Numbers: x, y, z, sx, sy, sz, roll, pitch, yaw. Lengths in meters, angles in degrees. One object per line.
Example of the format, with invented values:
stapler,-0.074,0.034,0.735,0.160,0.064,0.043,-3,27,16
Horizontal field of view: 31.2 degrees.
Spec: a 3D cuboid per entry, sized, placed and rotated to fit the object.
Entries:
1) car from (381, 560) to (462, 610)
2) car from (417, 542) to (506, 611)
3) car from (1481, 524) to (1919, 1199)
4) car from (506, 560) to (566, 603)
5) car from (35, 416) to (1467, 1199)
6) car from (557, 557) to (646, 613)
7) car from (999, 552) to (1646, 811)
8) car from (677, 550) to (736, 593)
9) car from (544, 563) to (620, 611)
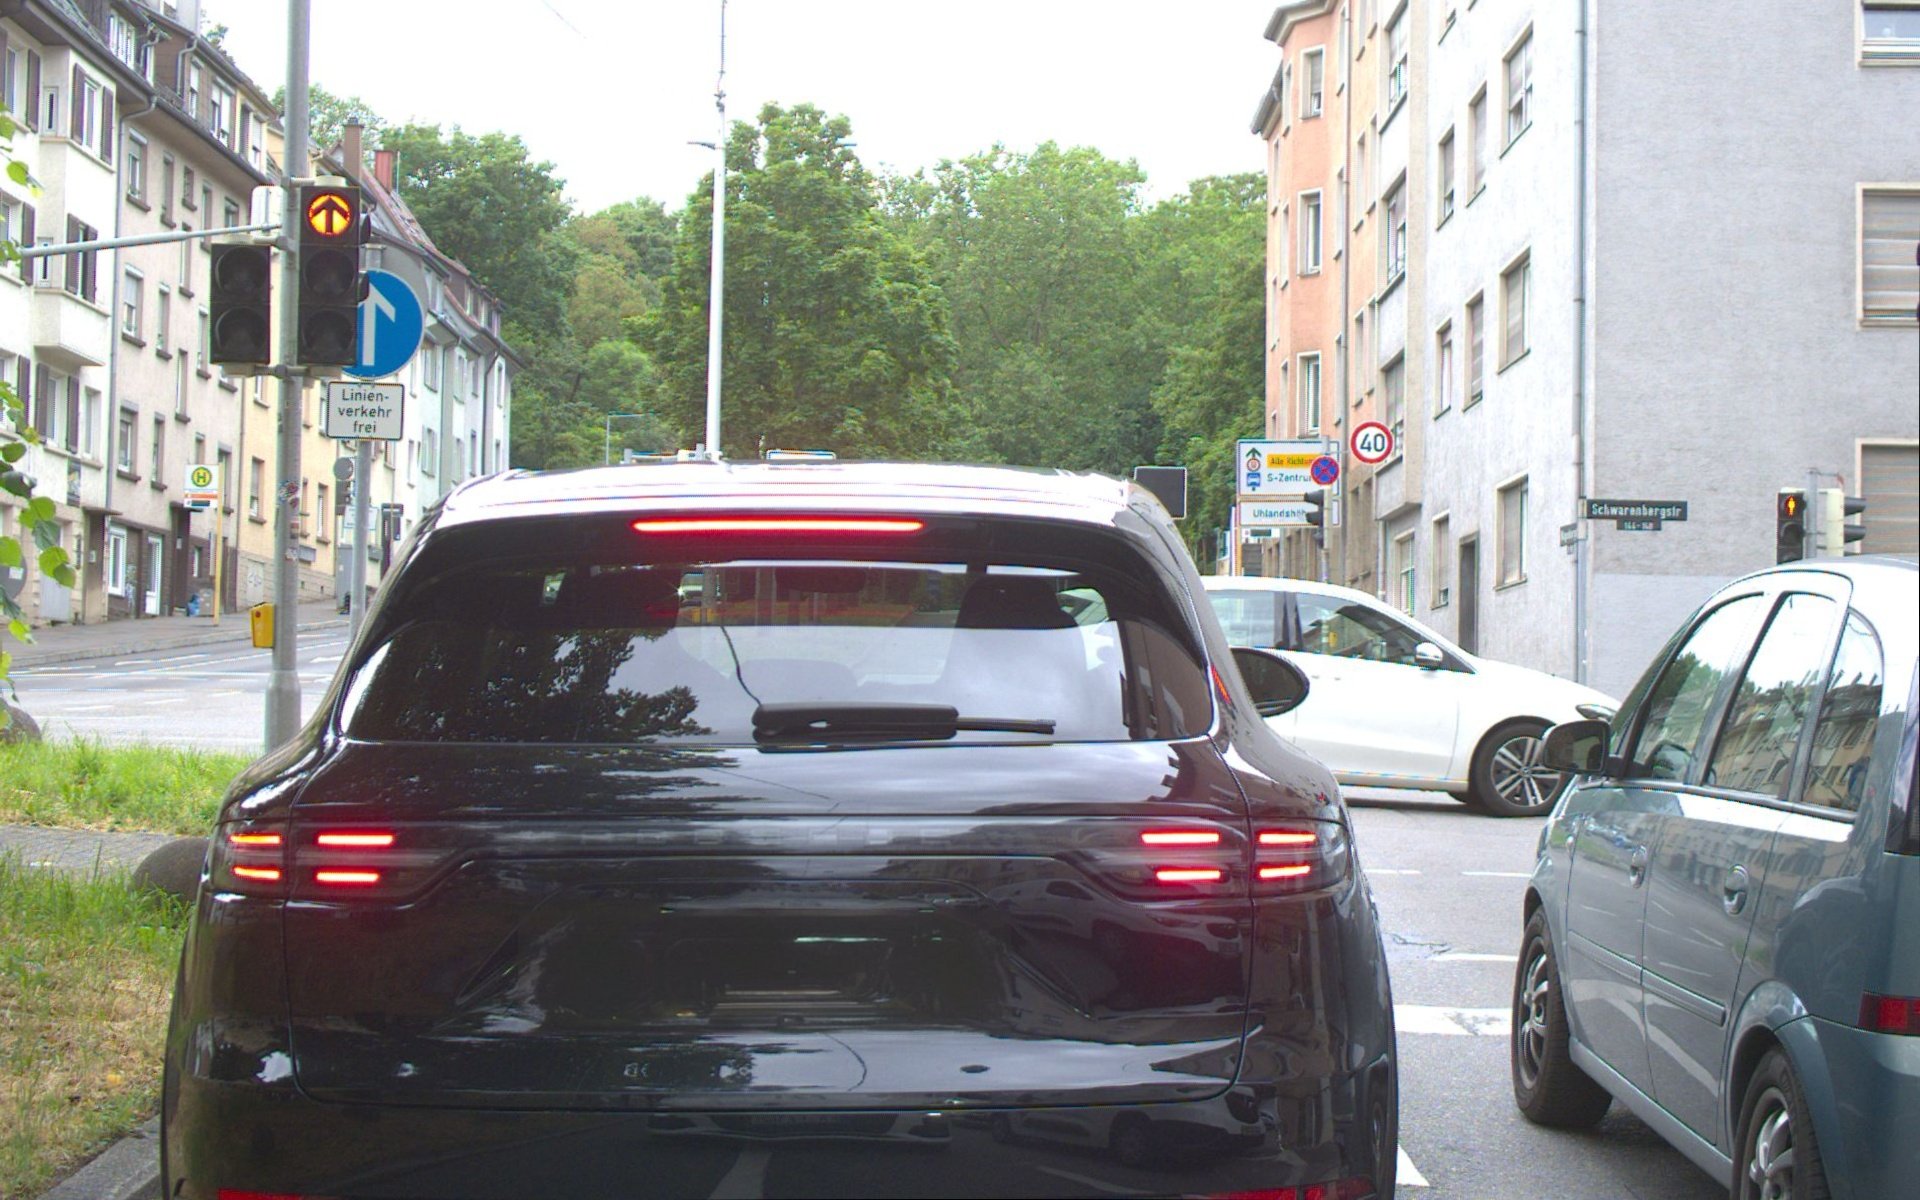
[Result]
car,-15.463,-0.432,98.898,1.739,1.382,3.814,1,1,0
car,-15.135,-0.731,104.558,2.016,2.038,4.667,1,1,0
car,2.356,0.695,7.870,1.628,1.592,3.669,4,1,-1
car,-15.401,-0.685,124.951,1.689,1.533,3.814,1,1,0
car,-0.308,0.564,6.703,1.955,1.669,4.000,0,1,-1
car,-9.176,-0.391,88.329,1.862,1.383,4.094,1,1,0
car,2.453,0.557,23.961,4.250,1.589,1.690,2,-1,-1
car,-9.871,-1.123,134.255,1.974,1.605,4.558,1,1,0
car,-12.164,-0.424,110.804,1.844,1.481,3.898,1,1,2
